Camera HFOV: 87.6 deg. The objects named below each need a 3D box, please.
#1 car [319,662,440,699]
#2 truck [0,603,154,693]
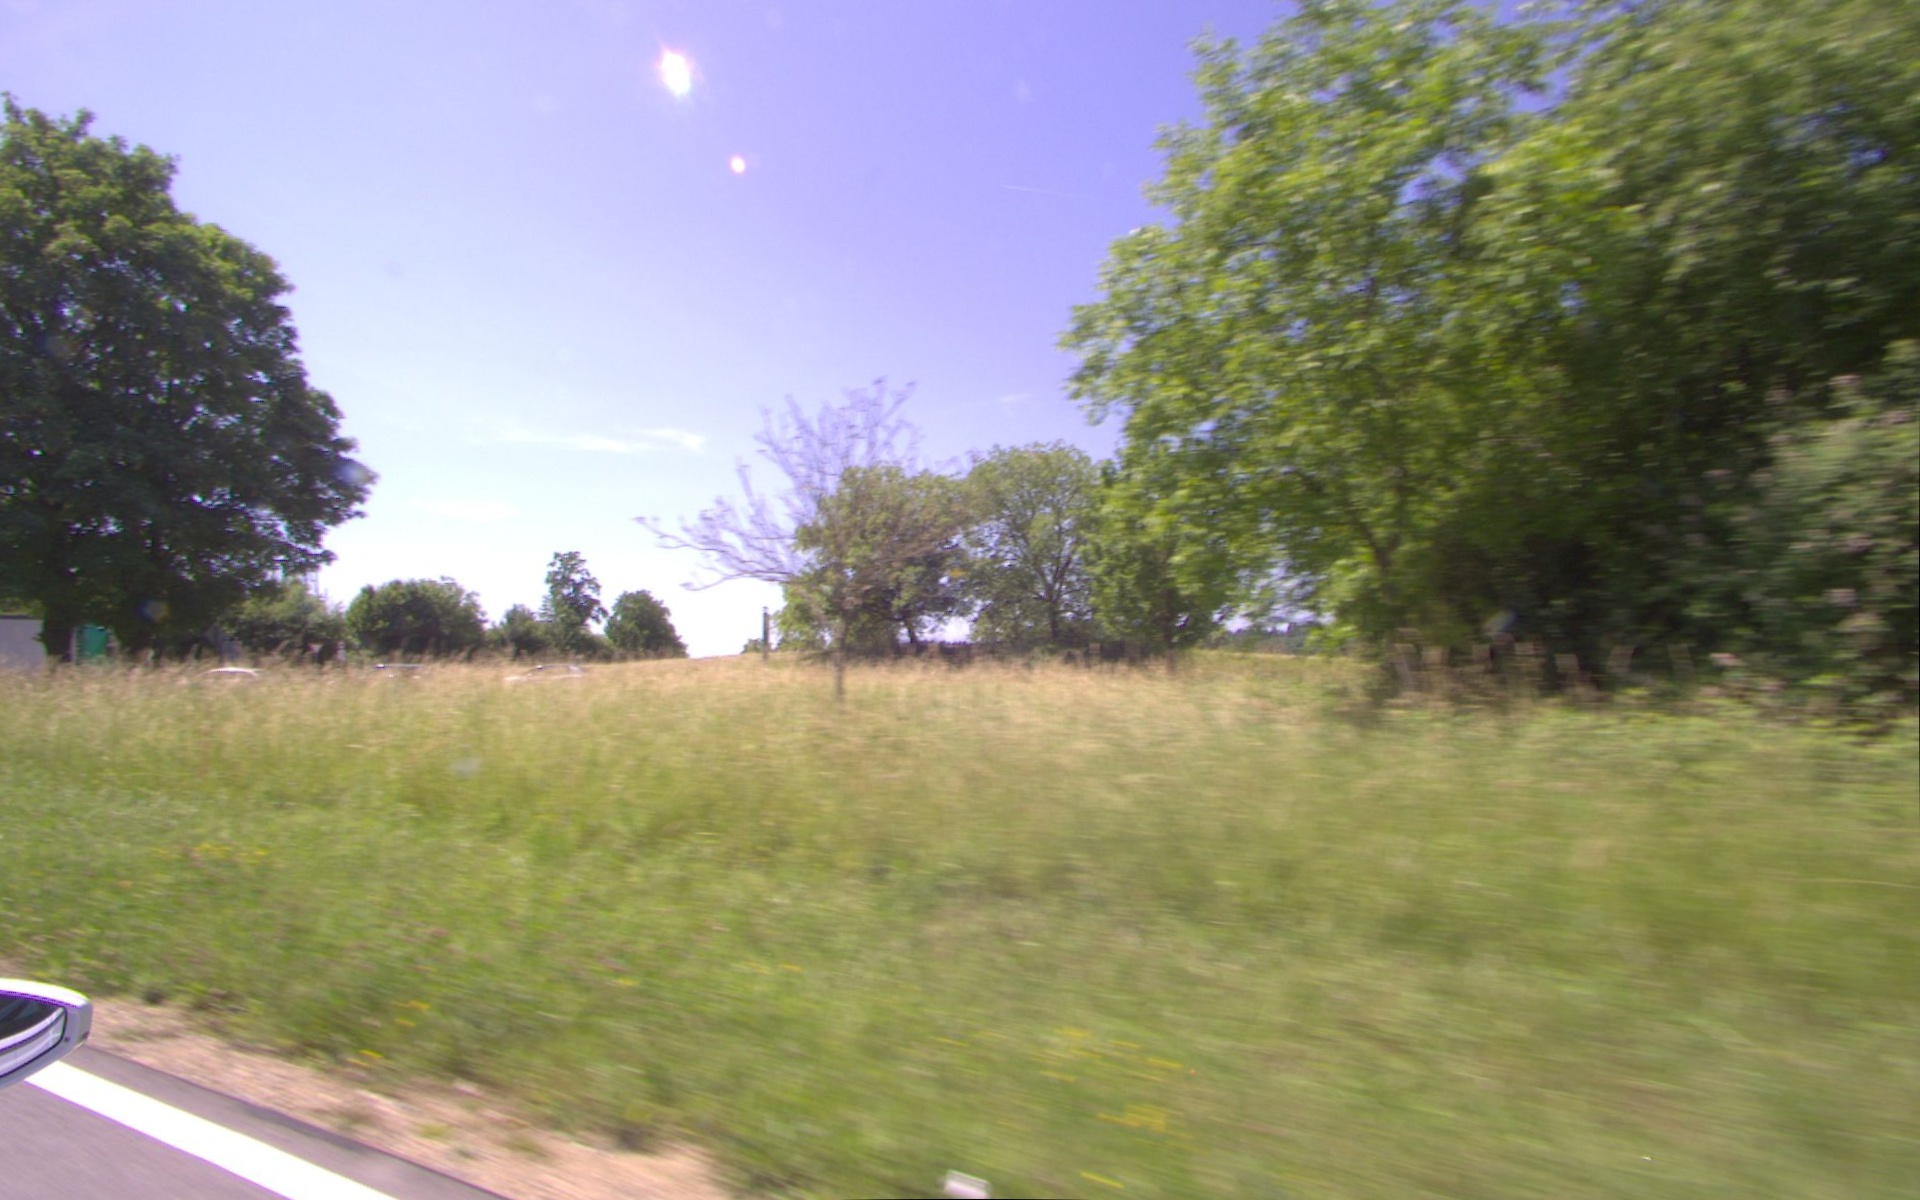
[{"bbox_3d":[-25.779,3.545,44.570,4.298,1.572,1.730,0,-2,-4],"label":"car"},{"bbox_3d":[-47.376,2.227,45.627,3.090,4.224,16.614,-2,-3,30],"label":"truck"}]
